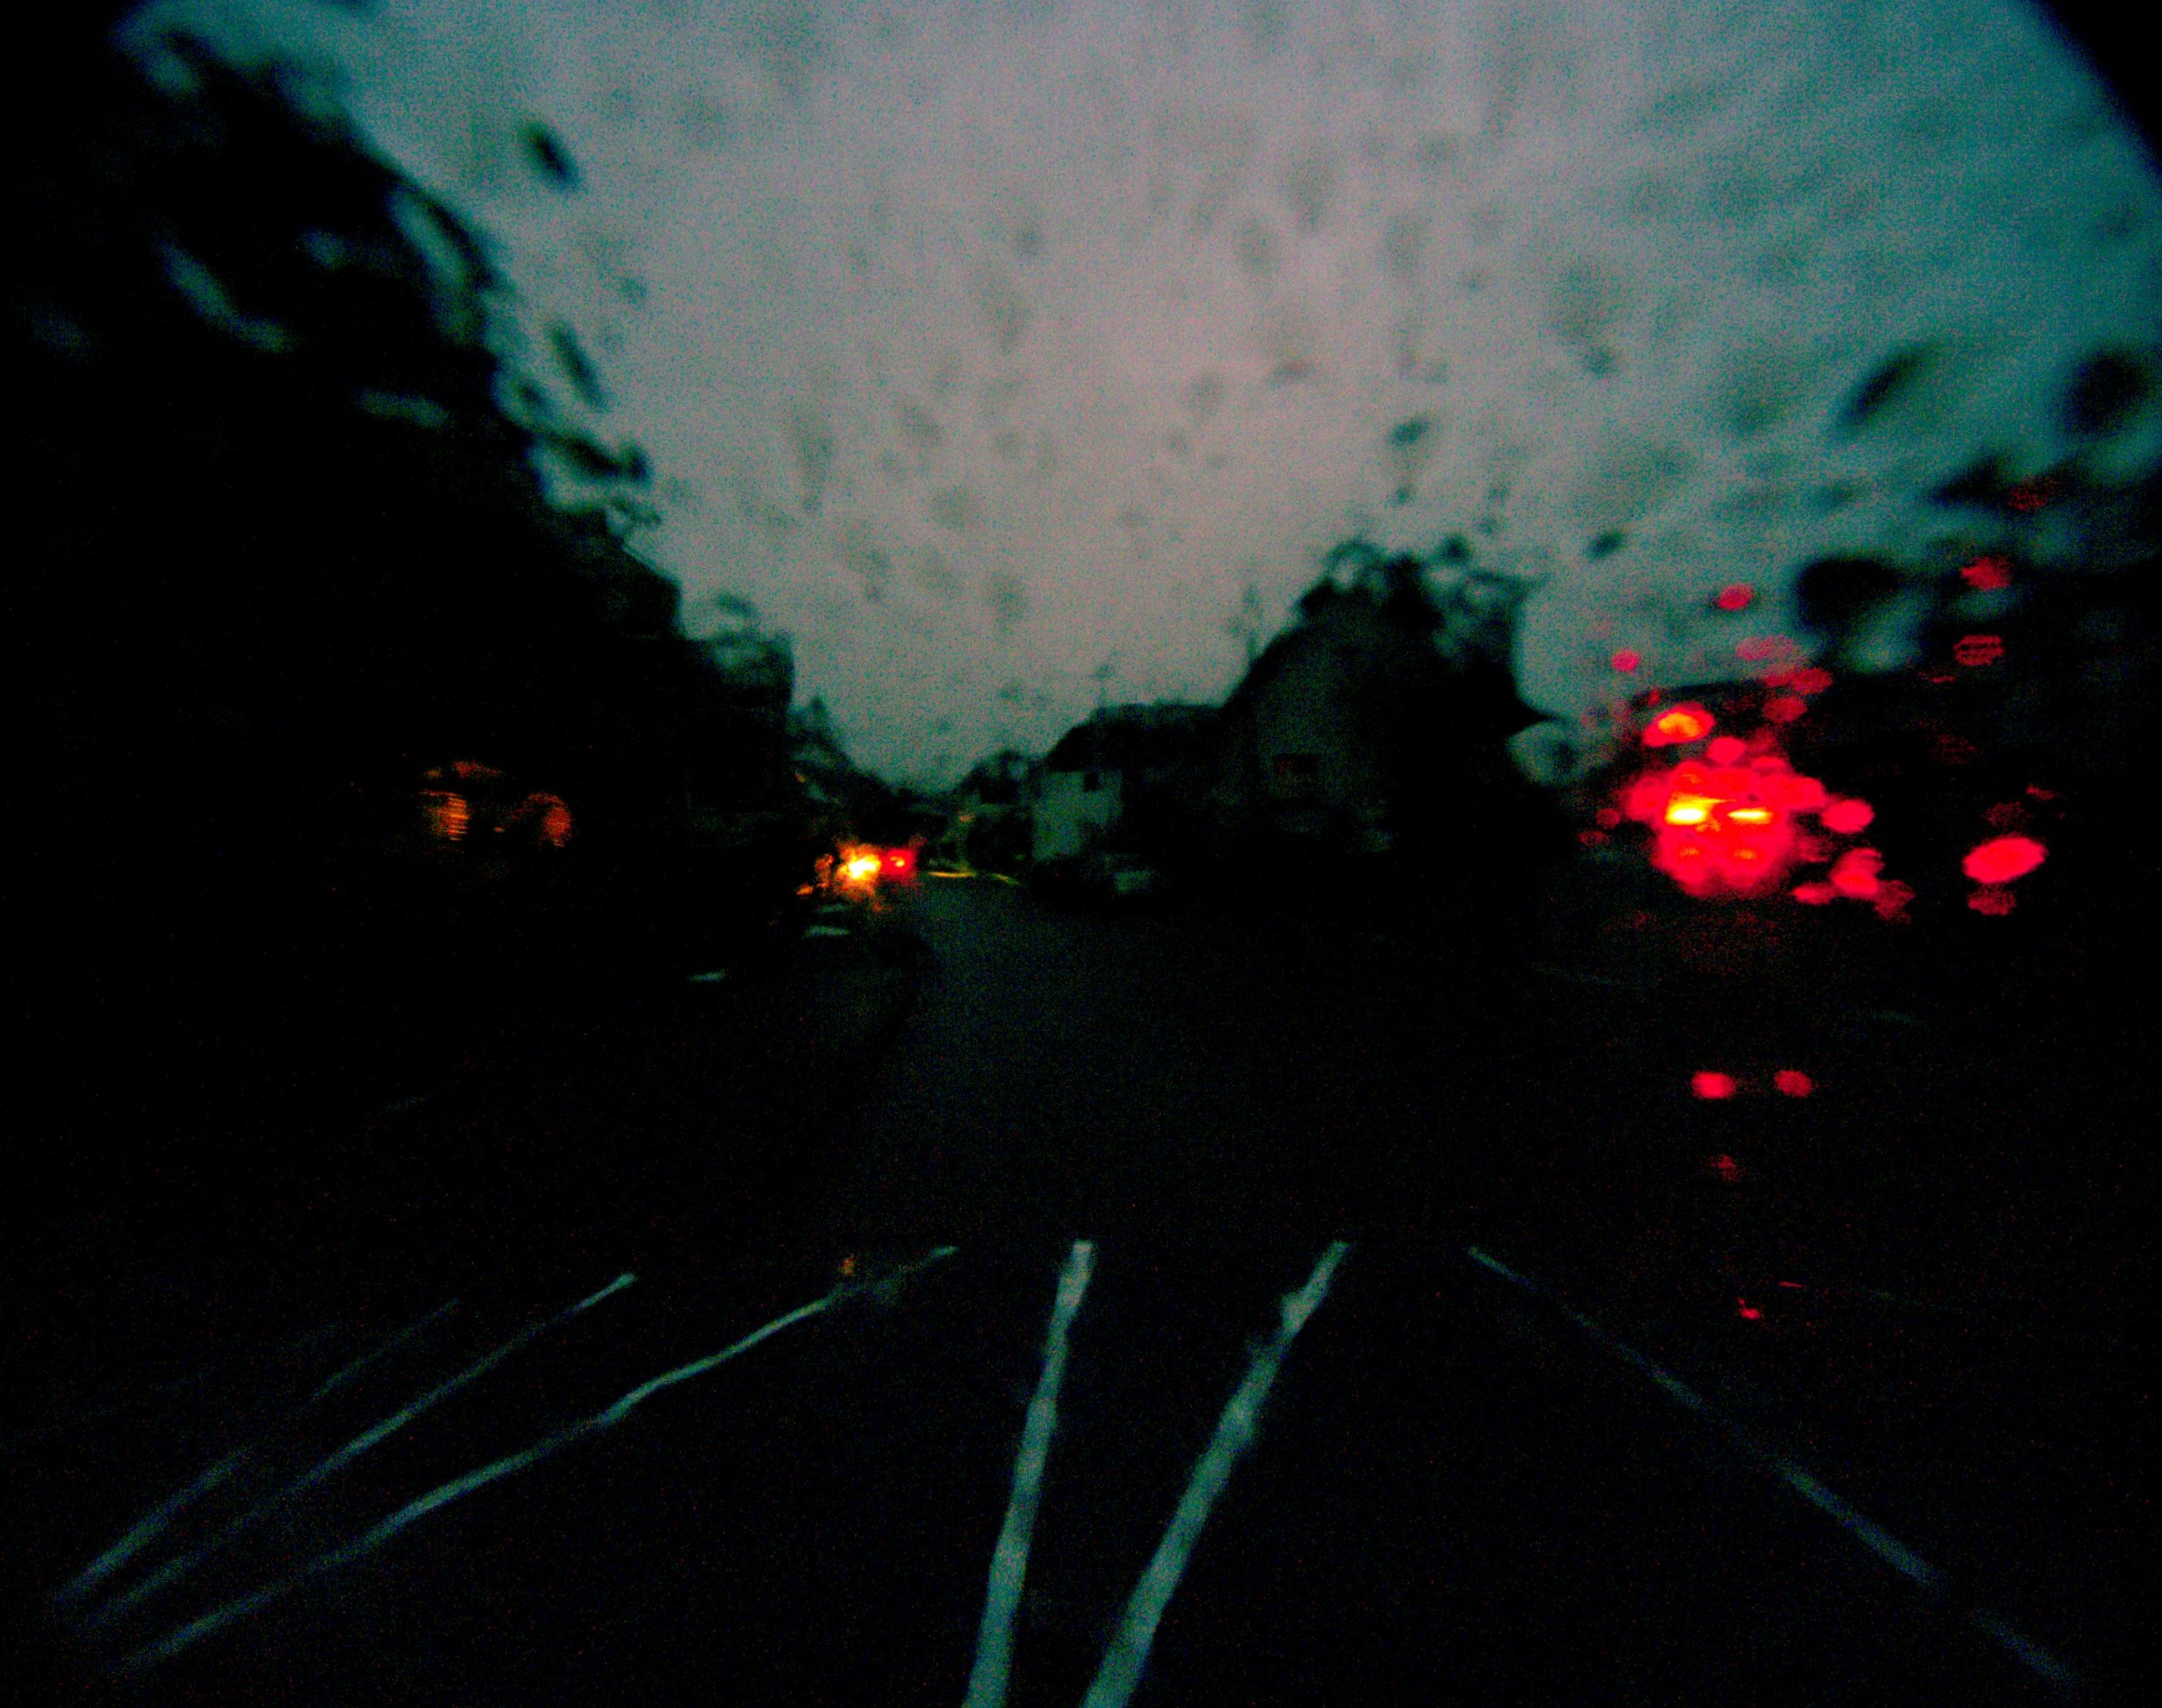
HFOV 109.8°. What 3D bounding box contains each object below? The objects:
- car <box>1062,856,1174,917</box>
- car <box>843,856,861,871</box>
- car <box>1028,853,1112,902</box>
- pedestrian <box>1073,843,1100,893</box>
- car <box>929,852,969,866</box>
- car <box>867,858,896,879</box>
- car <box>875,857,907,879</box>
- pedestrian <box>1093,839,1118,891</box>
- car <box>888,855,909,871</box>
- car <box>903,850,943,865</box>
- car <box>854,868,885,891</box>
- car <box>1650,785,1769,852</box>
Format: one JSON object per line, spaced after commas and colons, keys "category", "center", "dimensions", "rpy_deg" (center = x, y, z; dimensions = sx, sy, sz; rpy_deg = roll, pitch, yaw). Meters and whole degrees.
{"category": "car", "center": [0.876, 0.801, 20.569], "dimensions": [1.755, 1.380, 4.141], "rpy_deg": [-4, 1, -16]}
{"category": "car", "center": [-27.218, 1.097, 90.316], "dimensions": [1.767, 1.489, 3.993], "rpy_deg": [-5, 2, -20]}
{"category": "car", "center": [-0.474, 0.758, 26.049], "dimensions": [1.830, 1.432, 4.062], "rpy_deg": [-4, 1, -15]}
{"category": "pedestrian", "center": [0.207, 0.493, 28.070], "dimensions": [0.708, 1.769, 0.811], "rpy_deg": [-4, 2, -15]}
{"category": "car", "center": [-14.899, 0.559, 85.790], "dimensions": [4.225, 1.417, 2.003], "rpy_deg": [-2, 2, 38]}
{"category": "car", "center": [-16.479, 1.152, 62.638], "dimensions": [1.797, 1.431, 4.614], "rpy_deg": [-4, 2, -19]}
{"category": "car", "center": [-14.166, 0.992, 56.416], "dimensions": [1.733, 1.424, 4.789], "rpy_deg": [-4, 2, -20]}
{"category": "pedestrian", "center": [0.891, 0.384, 27.812], "dimensions": [0.600, 1.859, 0.811], "rpy_deg": [-4, 2, -16]}
{"category": "car", "center": [-19.829, 0.968, 82.434], "dimensions": [1.764, 1.572, 3.993], "rpy_deg": [-4, 2, -18]}
{"category": "car", "center": [-19.219, 0.403, 92.515], "dimensions": [4.483, 1.570, 1.997], "rpy_deg": [-4, 2, -16]}
{"category": "car", "center": [-21.019, 2.475, 75.494], "dimensions": [2.002, 2.002, 3.991], "rpy_deg": [-4, 2, -28]}
{"category": "car", "center": [17.717, -1.042, 21.614], "dimensions": [1.995, 1.622, 4.005], "rpy_deg": [-3, 3, 31]}
